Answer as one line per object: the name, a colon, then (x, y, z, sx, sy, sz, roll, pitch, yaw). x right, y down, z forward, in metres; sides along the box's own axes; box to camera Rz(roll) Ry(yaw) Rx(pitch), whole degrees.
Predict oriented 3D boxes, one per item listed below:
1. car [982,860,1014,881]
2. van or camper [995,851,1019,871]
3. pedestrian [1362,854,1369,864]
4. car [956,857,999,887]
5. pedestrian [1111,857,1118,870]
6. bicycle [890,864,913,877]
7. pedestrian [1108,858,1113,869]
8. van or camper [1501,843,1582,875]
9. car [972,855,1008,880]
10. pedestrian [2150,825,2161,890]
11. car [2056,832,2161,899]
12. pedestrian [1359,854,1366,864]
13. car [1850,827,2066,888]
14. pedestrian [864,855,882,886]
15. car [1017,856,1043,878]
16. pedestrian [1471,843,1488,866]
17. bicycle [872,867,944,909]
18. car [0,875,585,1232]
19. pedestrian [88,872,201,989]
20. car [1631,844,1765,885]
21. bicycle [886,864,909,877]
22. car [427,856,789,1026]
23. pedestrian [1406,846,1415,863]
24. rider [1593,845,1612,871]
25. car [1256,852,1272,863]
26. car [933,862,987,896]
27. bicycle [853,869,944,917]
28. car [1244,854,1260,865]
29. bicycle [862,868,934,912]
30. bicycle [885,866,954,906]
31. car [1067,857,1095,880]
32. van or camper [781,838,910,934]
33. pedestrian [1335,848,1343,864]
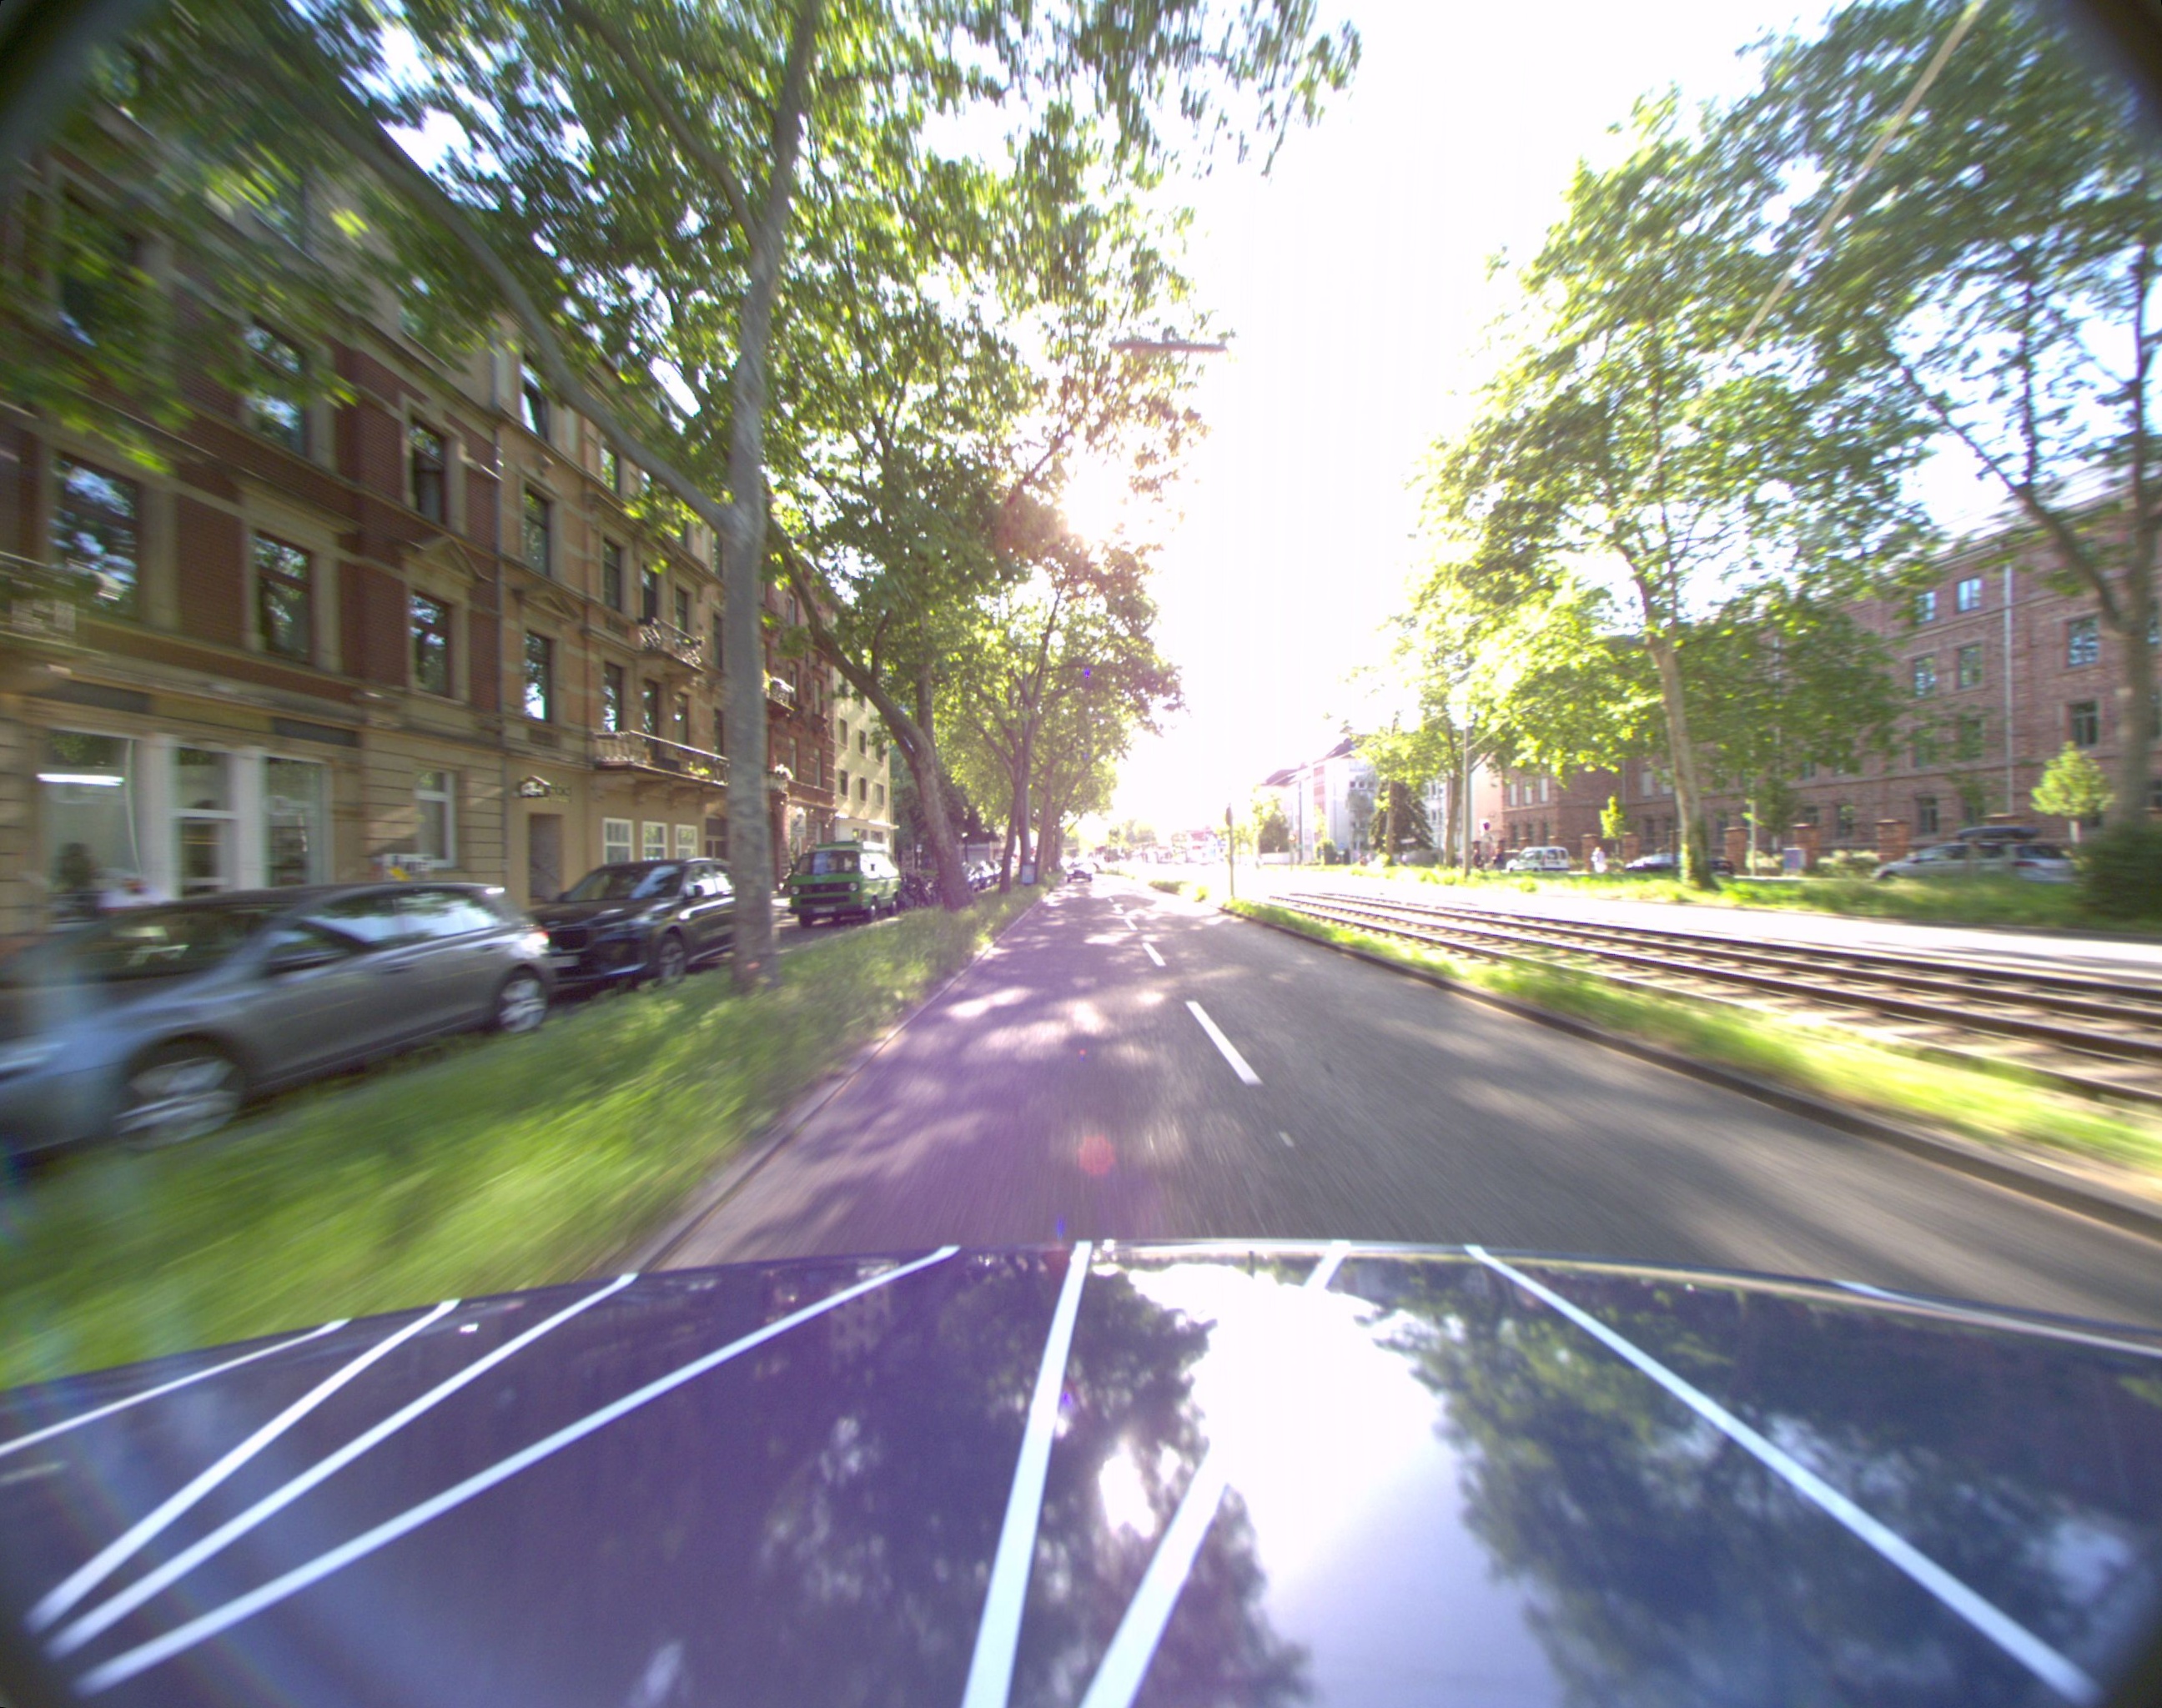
car: (-5.813, 1.153, 53.444, 1.719, 1.443, 4.262, -1, -1, 0)
van or camper: (-8.966, 0.852, 92.054, 2.297, 2.273, 5.822, -2, 0, 0)
pedestrian: (31.016, 0.506, 82.806, 0.445, 1.093, 0.587, -1, 0, -5)
car: (-5.676, 0.985, 42.118, 1.699, 1.498, 4.583, -1, -1, 1)
pedestrian: (4.692, 1.345, 106.793, 0.955, 1.725, 0.730, -1, 0, 2)
bicycle: (-16.010, 1.469, 67.642, 2.140, 1.097, 0.509, -1, 0, 25)
pedestrian: (4.574, 1.424, 118.817, 0.714, 1.670, 0.772, -2, 0, -1)
van or camper: (26.831, 0.261, 44.455, 1.999, 1.777, 4.431, 0, 0, -2)
car: (-5.704, 0.856, 48.045, 1.699, 1.521, 4.262, -1, -1, 0)
pedestrian: (33.390, 0.107, 23.152, 0.716, 2.002, 0.626, -1, 0, 1)
car: (26.952, 0.263, 18.071, 1.998, 1.606, 4.422, -1, 0, 4)
pedestrian: (30.957, 0.525, 83.452, 0.587, 1.093, 0.479, -1, 0, -1)
car: (26.888, 0.111, 23.563, 1.772, 1.709, 4.422, -1, 0, 4)
pedestrian: (-11.473, 0.918, 41.950, 0.797, 1.694, 0.724, -1, 0, 0)
car: (-3.935, 0.984, 59.438, 1.908, 1.626, 4.823, -1, 0, -3)
pedestrian: (33.327, 0.062, 63.556, 0.903, 1.888, 0.942, -1, 0, 1)
bicycle: (-5.869, 1.144, 25.850, 2.169, 1.286, 0.983, -2, 0, 0)
car: (-5.703, 0.995, 5.167, 1.741, 1.455, 4.364, -4, 0, -1)
pedestrian: (-12.955, 1.032, 10.531, 0.649, 1.537, 0.693, -1, 1, -1)
car: (26.920, 0.459, 33.431, 1.998, 1.640, 4.827, -1, -1, 1)
bicycle: (-16.235, 1.491, 67.168, 2.140, 1.097, 0.473, -1, 0, 25)
car: (-5.866, 0.910, 10.355, 1.896, 1.637, 4.799, -4, 0, -1)
pedestrian: (35.472, 0.060, 81.832, 0.694, 1.826, 0.573, -1, 0, -1)
rider: (33.574, 0.245, 48.940, 0.730, 1.635, 0.686, -1, 0, 0)
car: (27.486, 0.535, 114.143, 1.769, 1.613, 4.477, -1, 0, 6)
car: (-5.851, 1.159, 37.083, 1.838, 1.399, 4.192, -4, 0, 0)
bicycle: (-5.529, 1.172, 23.186, 2.556, 1.286, 0.974, -2, 0, -6)
car: (28.005, 0.865, 124.641, 1.998, 1.697, 4.150, -1, 0, 4)
bicycle: (-5.876, 1.158, 24.563, 2.171, 1.286, 0.982, -2, 0, -10)
bicycle: (-5.710, 1.132, 26.999, 2.169, 1.286, 0.983, -2, 0, 2)
car: (0.046, 1.118, 59.454, 1.979, 1.660, 4.620, -2, 0, 2)
van or camper: (-5.961, 0.740, 19.874, 1.838, 2.085, 4.773, -4, 0, -1)
pedestrian: (33.235, 0.251, 97.789, 0.664, 2.002, 0.860, -1, 0, -1)
